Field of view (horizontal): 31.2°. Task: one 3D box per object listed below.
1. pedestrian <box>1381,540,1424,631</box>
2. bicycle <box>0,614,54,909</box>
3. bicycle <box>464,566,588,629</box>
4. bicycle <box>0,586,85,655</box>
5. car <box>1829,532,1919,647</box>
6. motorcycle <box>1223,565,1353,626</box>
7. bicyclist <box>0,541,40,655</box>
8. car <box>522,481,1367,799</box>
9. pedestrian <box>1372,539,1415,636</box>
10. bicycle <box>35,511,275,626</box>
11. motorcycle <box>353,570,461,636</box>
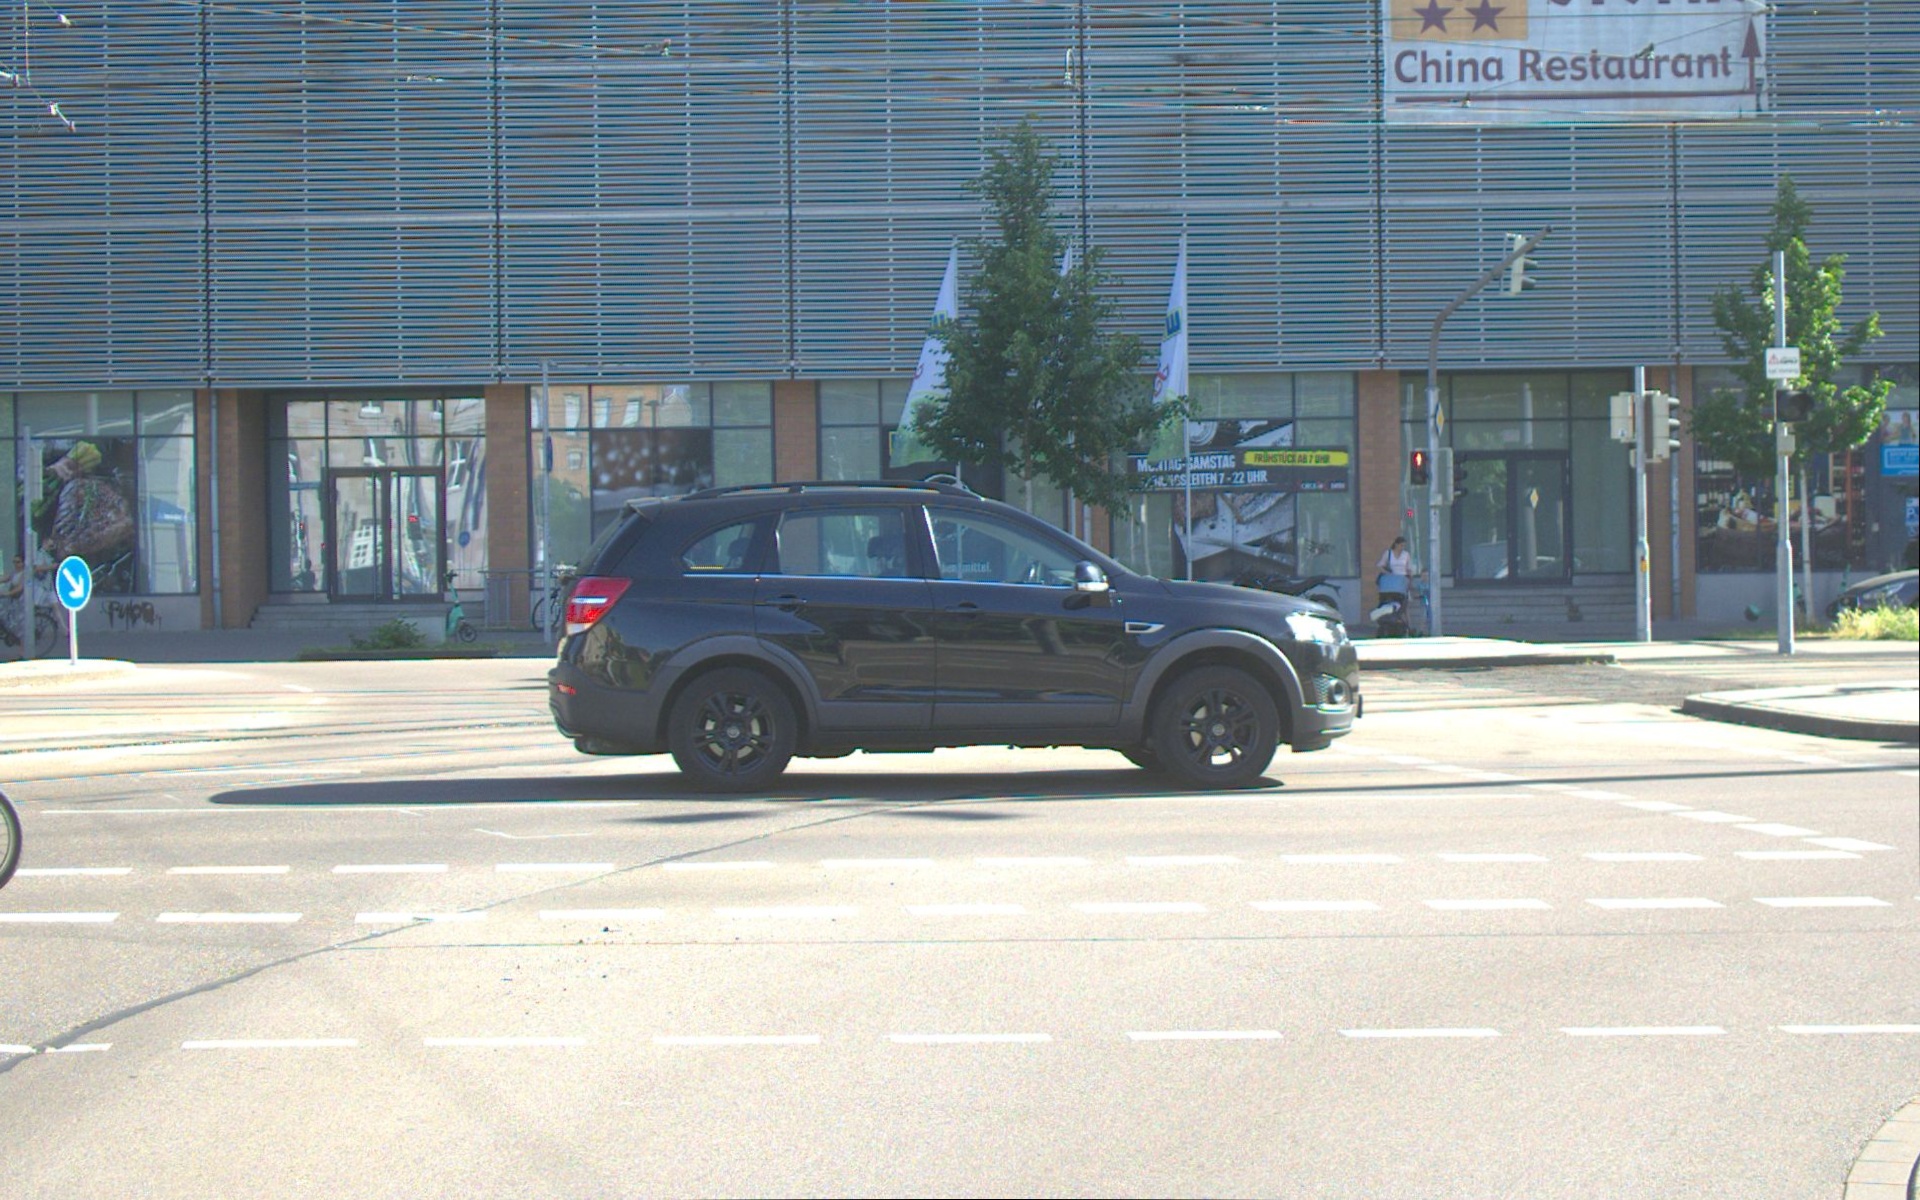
[{"bbox_3d":[7.118,-0.234,55.254,0.589,1.457,0.658,-1,1,-1],"label":"pedestrian"},{"bbox_3d":[-4.396,0.620,13.337,1.576,1.103,0.734,-1,1,-2],"label":"bicycle"},{"bbox_3d":[-7.626,-0.050,60.499,2.026,1.055,1.145,-1,1,-1],"label":"bicycle"},{"bbox_3d":[-15.246,0.324,54.872,2.238,1.067,1.046,-1,1,-41],"label":"bicycle"},{"bbox_3d":[13.965,-0.171,45.589,4.487,1.489,1.495,-1,1,0],"label":"car"},{"bbox_3d":[5.791,-0.088,60.785,2.202,1.039,1.061,0,1,0],"label":"motorcycle"},{"bbox_3d":[-15.254,-0.033,54.791,0.843,1.797,0.816,-1,1,-42],"label":"bicyclist"},{"bbox_3d":[-0.147,0.182,19.718,4.634,1.712,1.840,0,2,-5],"label":"car"},{"bbox_3d":[6.874,-0.202,54.545,0.589,1.529,0.658,-1,1,-1],"label":"pedestrian"},{"bbox_3d":[-14.357,-0.575,61.417,3.987,2.007,1.330,0,1,0],"label":"bicycle"},{"bbox_3d":[-8.986,0.051,55.872,1.652,1.055,0.497,-1,1,9],"label":"motorcycle"}]
